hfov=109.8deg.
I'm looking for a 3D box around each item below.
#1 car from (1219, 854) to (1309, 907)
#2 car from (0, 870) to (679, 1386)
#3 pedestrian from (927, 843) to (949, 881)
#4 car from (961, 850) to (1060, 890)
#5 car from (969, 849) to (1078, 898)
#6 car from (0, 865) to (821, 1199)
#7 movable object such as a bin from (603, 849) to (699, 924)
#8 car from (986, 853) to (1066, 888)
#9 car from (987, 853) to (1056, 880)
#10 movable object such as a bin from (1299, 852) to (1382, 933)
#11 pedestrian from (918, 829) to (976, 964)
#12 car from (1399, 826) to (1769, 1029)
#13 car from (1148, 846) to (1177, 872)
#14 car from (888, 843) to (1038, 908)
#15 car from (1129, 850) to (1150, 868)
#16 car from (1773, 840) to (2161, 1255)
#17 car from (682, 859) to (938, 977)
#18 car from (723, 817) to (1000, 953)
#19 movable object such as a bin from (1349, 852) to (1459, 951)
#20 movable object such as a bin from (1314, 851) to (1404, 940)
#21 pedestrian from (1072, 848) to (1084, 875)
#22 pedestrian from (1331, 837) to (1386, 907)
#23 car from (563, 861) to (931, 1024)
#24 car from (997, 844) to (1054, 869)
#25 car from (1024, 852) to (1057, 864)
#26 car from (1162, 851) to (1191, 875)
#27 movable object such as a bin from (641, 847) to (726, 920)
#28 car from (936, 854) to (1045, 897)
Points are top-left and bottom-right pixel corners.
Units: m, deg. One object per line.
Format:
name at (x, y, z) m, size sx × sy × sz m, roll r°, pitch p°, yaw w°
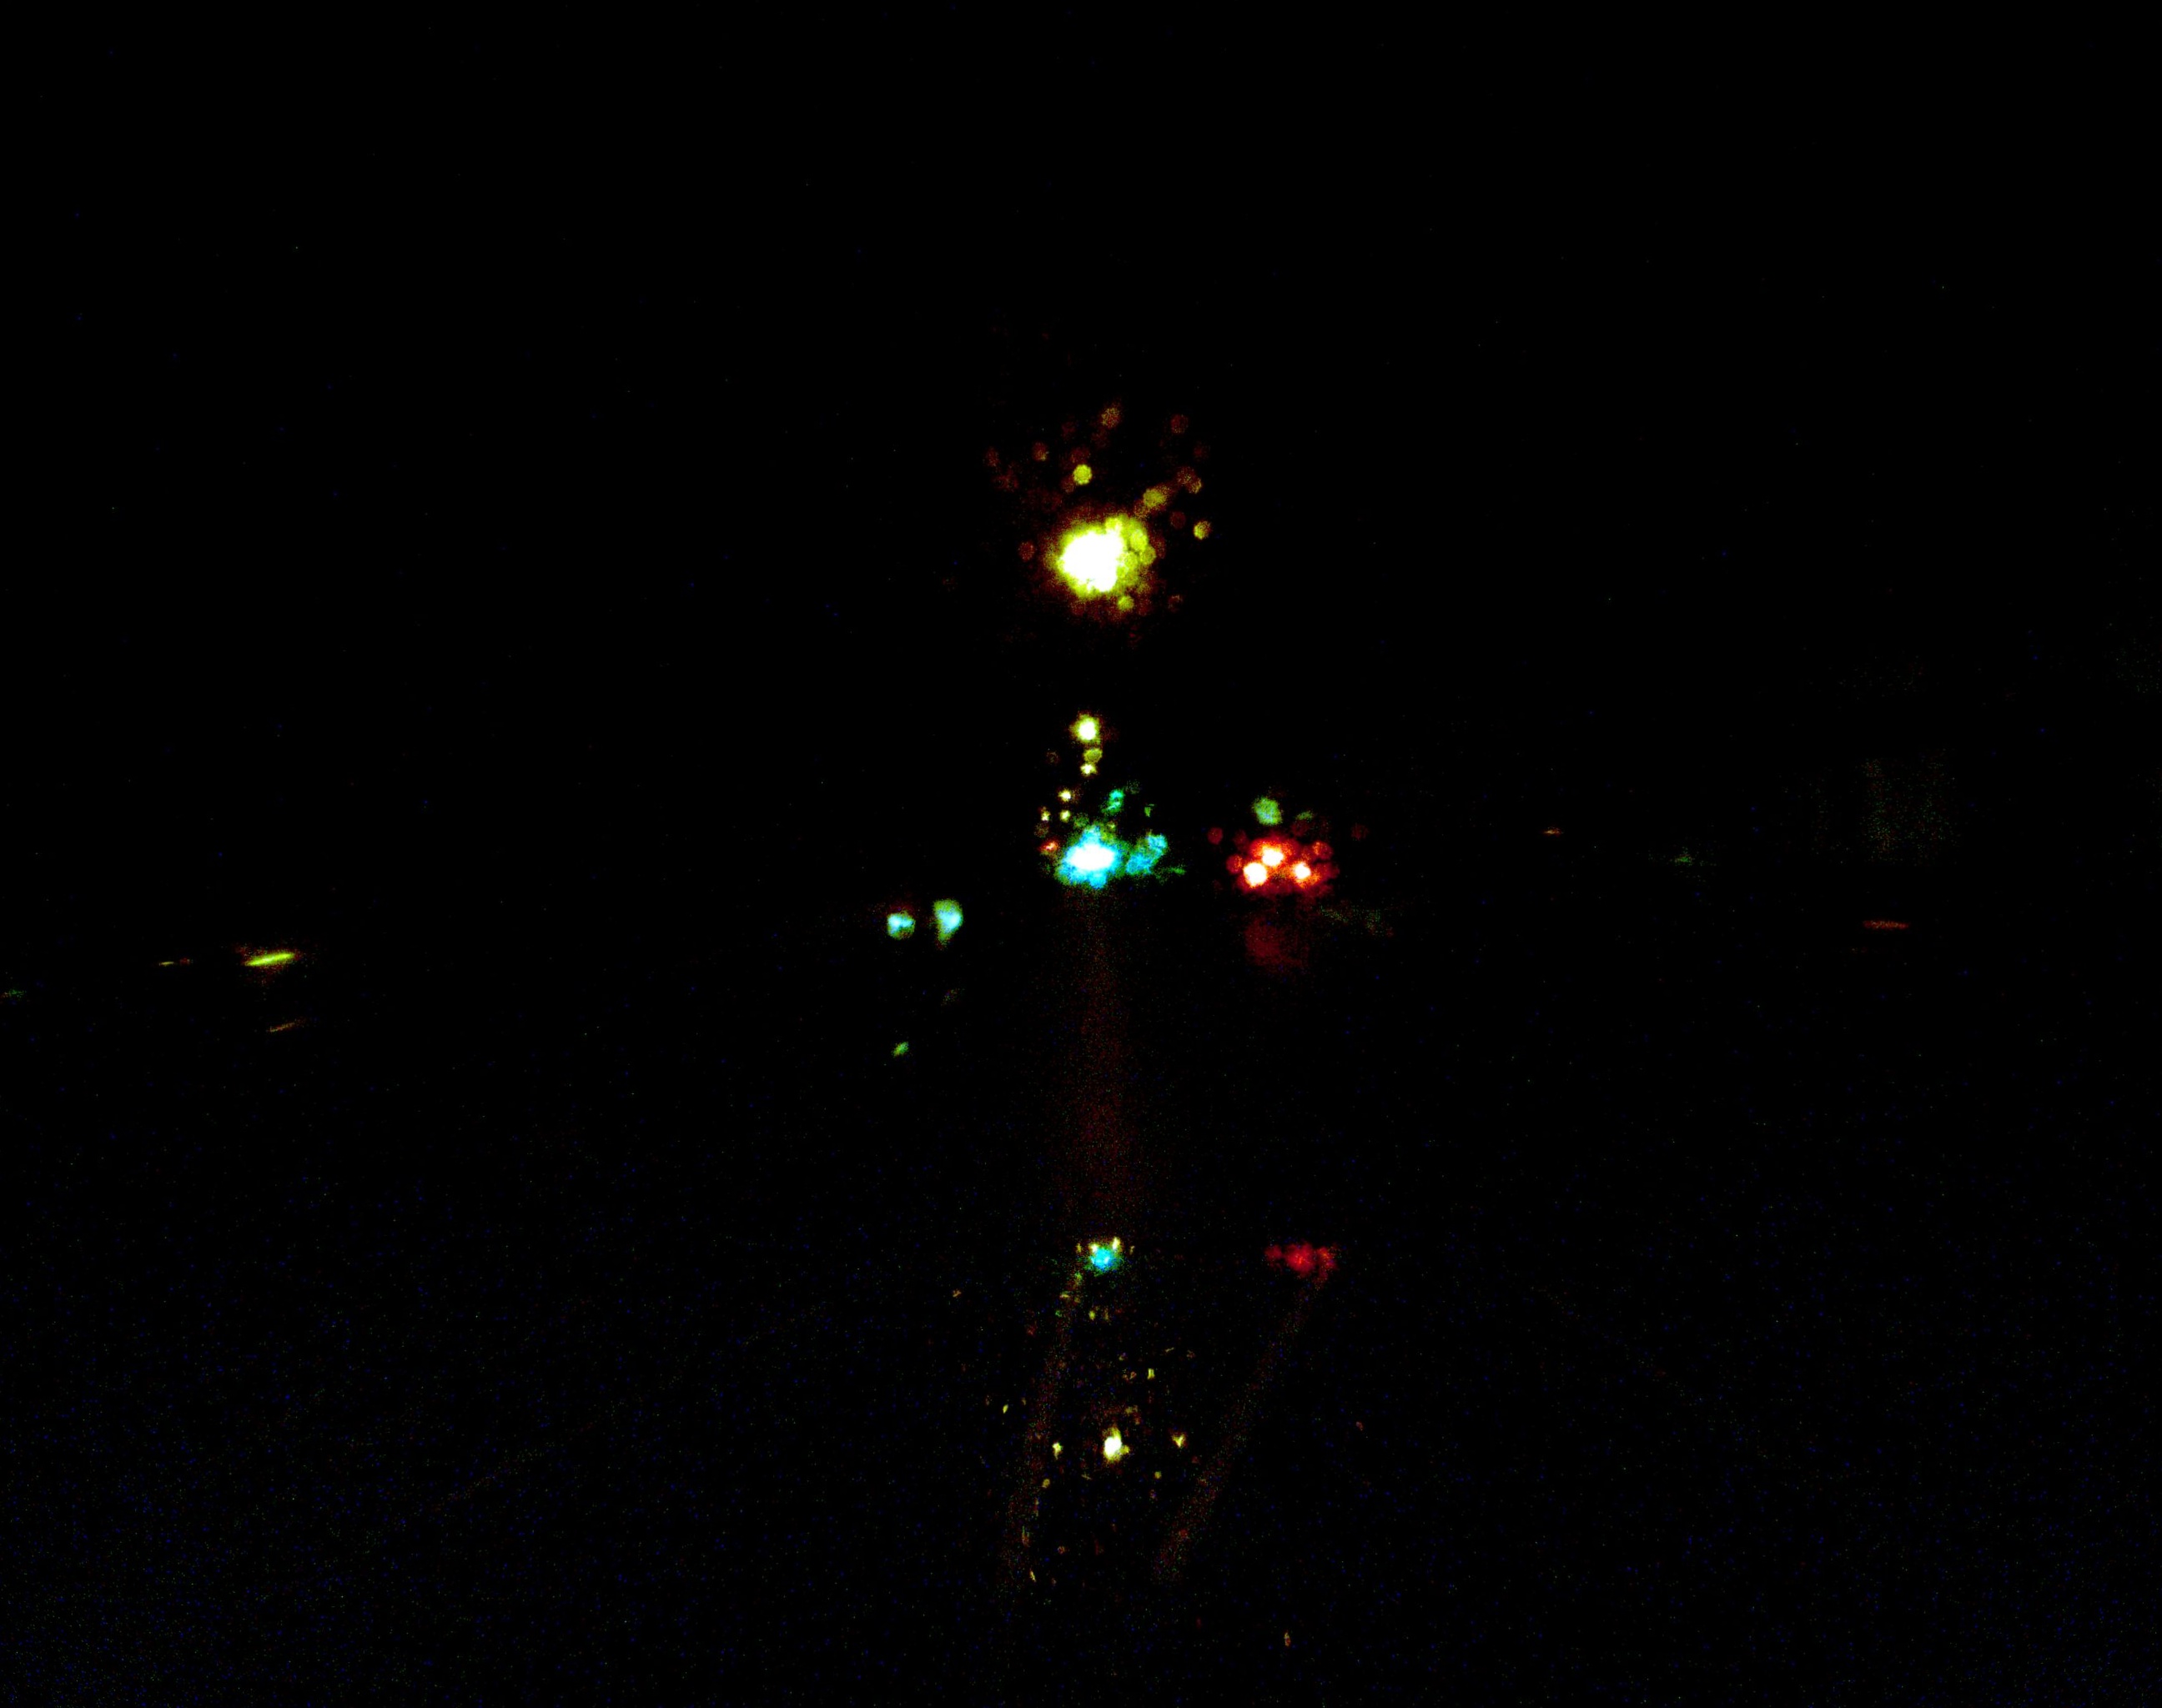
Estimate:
car at (5.262, 0.712, 22.325) m, size 1.658 × 1.351 × 4.222 m, roll -1°, pitch 0°, yaw 1°
car at (-3.976, 0.883, 3.047) m, size 4.007 × 1.543 × 1.800 m, roll 0°, pitch 1°, yaw -34°
pedestrian at (-7.189, 0.400, 38.187) m, size 0.841 × 1.825 × 0.947 m, roll 4°, pitch 2°, yaw -3°
car at (-3.232, 0.710, 34.698) m, size 4.113 × 1.754 × 1.855 m, roll 0°, pitch 0°, yaw -27°
car at (-2.240, 0.719, 29.796) m, size 3.809 × 1.718 × 1.737 m, roll -2°, pitch 1°, yaw -30°
car at (-4.282, 0.899, 5.684) m, size 4.008 × 1.543 × 1.994 m, roll 0°, pitch 1°, yaw -37°
movable object such as a bin at (-8.556, 0.628, 15.176) m, size 1.258 × 1.364 × 0.998 m, roll 4°, pitch 1°, yaw 1°
car at (-2.733, 0.794, 37.676) m, size 3.569 × 1.601 × 1.710 m, roll -2°, pitch 1°, yaw -21°
car at (-3.553, 0.767, 45.141) m, size 3.717 × 1.514 × 1.653 m, roll 1°, pitch 1°, yaw -24°
movable object such as a bin at (4.932, 0.709, 14.526) m, size 1.211 × 1.451 × 1.107 m, roll -2°, pitch 1°, yaw 3°
pedestrian at (-2.069, 0.639, 11.693) m, size 0.645 × 2.002 × 0.676 m, roll 1°, pitch 0°, yaw -30°
car at (5.074, 0.619, 8.344) m, size 1.607 × 1.696 × 3.721 m, roll -1°, pitch 0°, yaw 1°
car at (6.135, 0.349, 57.678) m, size 1.871 × 1.835 × 4.827 m, roll 0°, pitch 0°, yaw 2°
car at (-3.632, 0.651, 23.639) m, size 4.256 × 1.848 × 1.712 m, roll 1°, pitch 1°, yaw -35°
car at (5.651, 0.457, 73.150) m, size 1.815 × 1.660 × 4.413 m, roll -1°, pitch 0°, yaw 6°
car at (4.868, 0.721, 2.445) m, size 1.607 × 1.543 × 4.025 m, roll -2°, pitch 0°, yaw 1°
car at (-4.120, 0.858, 11.709) m, size 3.407 × 1.533 × 1.573 m, roll 0°, pitch 1°, yaw -35°
car at (-4.124, 0.498, 14.604) m, size 4.734 × 2.235 × 1.941 m, roll 0°, pitch 1°, yaw -35°
movable object such as a bin at (5.116, 0.720, 12.129) m, size 1.265 × 1.451 × 1.151 m, roll -2°, pitch 1°, yaw 3°
movable object such as a bin at (4.851, 0.702, 13.350) m, size 1.167 × 1.451 × 1.107 m, roll -2°, pitch 1°, yaw 3°
pedestrian at (-0.189, 0.497, 49.767) m, size 0.824 × 1.760 × 1.177 m, roll 0°, pitch 1°, yaw 0°
pedestrian at (7.230, 0.470, 19.844) m, size 1.135 × 1.772 × 0.788 m, roll -1°, pitch 1°, yaw 1°
car at (-3.775, 0.874, 8.913) m, size 3.659 × 1.533 × 1.556 m, roll 0°, pitch 1°, yaw -29°
car at (-5.315, 0.220, 72.518) m, size 4.951 × 2.327 × 2.226 m, roll 0°, pitch 1°, yaw -33°
car at (-5.286, 0.496, 99.493) m, size 4.123 × 1.483 × 1.590 m, roll 1°, pitch 0°, yaw -37°
car at (6.049, 0.543, 48.222) m, size 1.550 × 1.434 × 3.564 m, roll -3°, pitch 0°, yaw 4°
movable object such as a bin at (-8.537, 0.613, 16.369) m, size 1.212 × 1.443 × 0.998 m, roll 4°, pitch 1°, yaw 1°
car at (-3.774, 0.857, 31.679) m, size 4.068 × 1.601 × 1.840 m, roll -2°, pitch 0°, yaw -29°
